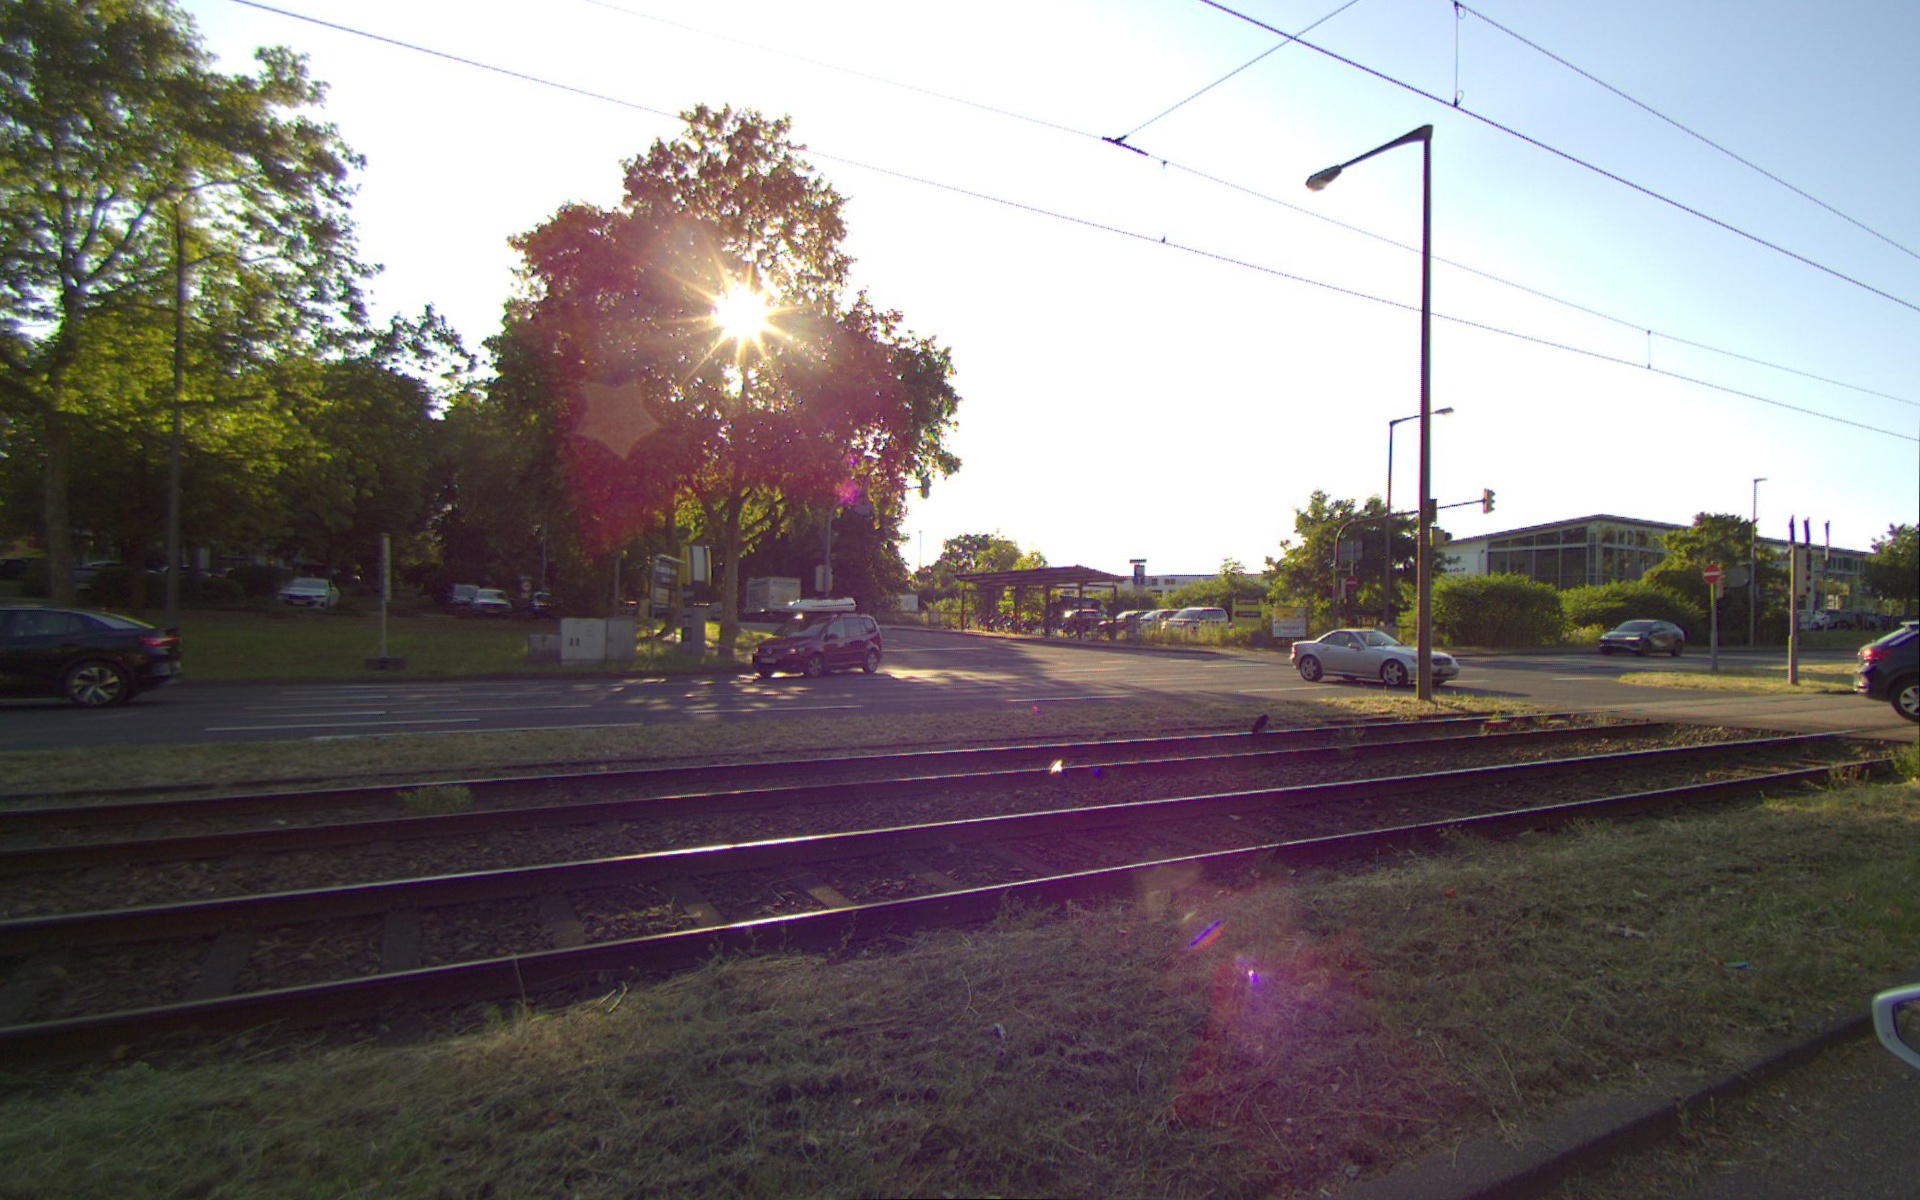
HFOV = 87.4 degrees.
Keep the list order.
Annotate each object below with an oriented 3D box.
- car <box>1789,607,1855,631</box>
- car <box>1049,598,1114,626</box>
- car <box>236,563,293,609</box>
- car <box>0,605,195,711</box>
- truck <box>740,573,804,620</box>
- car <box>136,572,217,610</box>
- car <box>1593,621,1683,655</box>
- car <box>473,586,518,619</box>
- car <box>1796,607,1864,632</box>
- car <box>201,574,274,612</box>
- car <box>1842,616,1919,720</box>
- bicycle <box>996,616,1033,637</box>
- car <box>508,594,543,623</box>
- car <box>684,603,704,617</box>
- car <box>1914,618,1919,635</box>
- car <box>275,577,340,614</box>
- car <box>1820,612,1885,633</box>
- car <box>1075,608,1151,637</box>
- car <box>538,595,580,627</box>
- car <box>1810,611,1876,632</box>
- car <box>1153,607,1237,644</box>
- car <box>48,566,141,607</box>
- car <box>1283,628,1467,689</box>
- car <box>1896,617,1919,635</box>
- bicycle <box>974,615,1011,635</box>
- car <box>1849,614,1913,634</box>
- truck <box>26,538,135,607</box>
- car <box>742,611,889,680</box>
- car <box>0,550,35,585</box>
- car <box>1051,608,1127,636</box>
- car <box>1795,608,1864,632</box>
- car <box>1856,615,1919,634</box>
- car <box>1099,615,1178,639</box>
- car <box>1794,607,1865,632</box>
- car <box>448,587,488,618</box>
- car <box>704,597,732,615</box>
[{"bbox_3d":[69.314,1.512,80.824,3.940,1.840,1.735,1,0,40],"label":"car"},{"bbox_3d":[9.276,0.940,76.656,4.715,2.041,1.853,1,0,-30],"label":"car"},{"bbox_3d":[-37.306,-0.742,53.995,2.138,2.334,4.369,2,0,-31],"label":"car"},{"bbox_3d":[-14.762,0.879,15.679,4.286,1.565,1.722,2,-2,-33],"label":"car"},{"bbox_3d":[-15.058,-0.256,79.779,2.782,3.520,8.291,1,0,-27],"label":"truck"},{"bbox_3d":[-33.965,-0.386,43.672,1.916,1.530,4.071,2,0,-26],"label":"car"},{"bbox_3d":[32.078,1.781,47.543,4.120,1.501,1.854,1,0,-29],"label":"car"},{"bbox_3d":[-22.944,0.117,49.577,1.916,1.530,4.071,2,0,-26],"label":"car"},{"bbox_3d":[68.352,1.495,78.979,3.940,1.840,1.735,1,0,40],"label":"car"},{"bbox_3d":[-32.122,-0.312,44.744,1.916,1.530,4.071,2,0,-26],"label":"car"},{"bbox_3d":[15.945,1.035,14.960,1.701,1.581,4.112,2,-2,-44],"label":"car"},{"bbox_3d":[3.060,1.479,56.404,2.004,1.119,0.777,2,0,-30],"label":"bicycle"},{"bbox_3d":[-26.216,0.513,60.678,1.836,1.637,4.036,2,0,-23],"label":"car"},{"bbox_3d":[-33.274,1.199,125.508,1.887,1.602,4.036,2,0,-21],"label":"car"},{"bbox_3d":[91.286,2.507,93.020,1.725,1.642,3.962,1,0,-34],"label":"car"},{"bbox_3d":[-29.441,-0.212,45.427,1.916,1.530,4.071,2,0,-26],"label":"car"},{"bbox_3d":[74.197,1.847,83.608,3.940,1.577,1.735,1,0,40],"label":"car"},{"bbox_3d":[8.811,1.288,57.790,4.123,1.604,1.853,1,0,-30],"label":"car"},{"bbox_3d":[-20.449,0.530,51.127,1.604,1.477,3.878,2,0,-27],"label":"car"},{"bbox_3d":[71.977,1.751,81.940,3.940,1.577,1.735,1,0,40],"label":"car"},{"bbox_3d":[12.353,1.330,52.728,4.123,1.846,1.853,1,0,-30],"label":"car"},{"bbox_3d":[-36.096,-0.548,42.008,1.916,1.530,4.071,2,0,-26],"label":"car"},{"bbox_3d":[9.864,1.349,24.154,1.596,1.311,3.949,1,-1,-32],"label":"car"},{"bbox_3d":[88.370,2.390,91.740,1.725,1.642,3.962,1,0,-34],"label":"car"},{"bbox_3d":[1.918,1.456,59.040,2.004,1.119,0.777,2,0,-30],"label":"bicycle"},{"bbox_3d":[79.602,2.069,86.889,3.940,1.577,1.735,1,0,40],"label":"car"},{"bbox_3d":[-44.522,-1.332,51.052,2.468,3.209,6.187,2,0,-26],"label":"truck"},{"bbox_3d":[-3.761,1.156,26.936,1.808,1.656,4.307,1,0,25],"label":"car"},{"bbox_3d":[-53.869,-1.872,56.368,2.274,1.875,5.220,2,0,-36],"label":"car"},{"bbox_3d":[7.707,1.295,59.985,4.123,1.604,1.968,1,0,-30],"label":"car"},{"bbox_3d":[66.715,1.496,77.167,3.940,1.727,1.735,1,0,40],"label":"car"},{"bbox_3d":[81.754,2.157,88.508,1.728,1.576,3.957,1,0,-37],"label":"car"},{"bbox_3d":[9.930,1.490,55.859,4.123,1.284,1.853,1,0,-30],"label":"car"},{"bbox_3d":[65.169,1.446,75.367,3.940,1.727,1.735,1,0,40],"label":"car"},{"bbox_3d":[-28.582,0.135,58.483,1.836,1.637,4.036,2,0,-23],"label":"car"},{"bbox_3d":[-22.853,0.530,94.853,1.711,1.603,4.028,1,0,-27],"label":"car"}]
